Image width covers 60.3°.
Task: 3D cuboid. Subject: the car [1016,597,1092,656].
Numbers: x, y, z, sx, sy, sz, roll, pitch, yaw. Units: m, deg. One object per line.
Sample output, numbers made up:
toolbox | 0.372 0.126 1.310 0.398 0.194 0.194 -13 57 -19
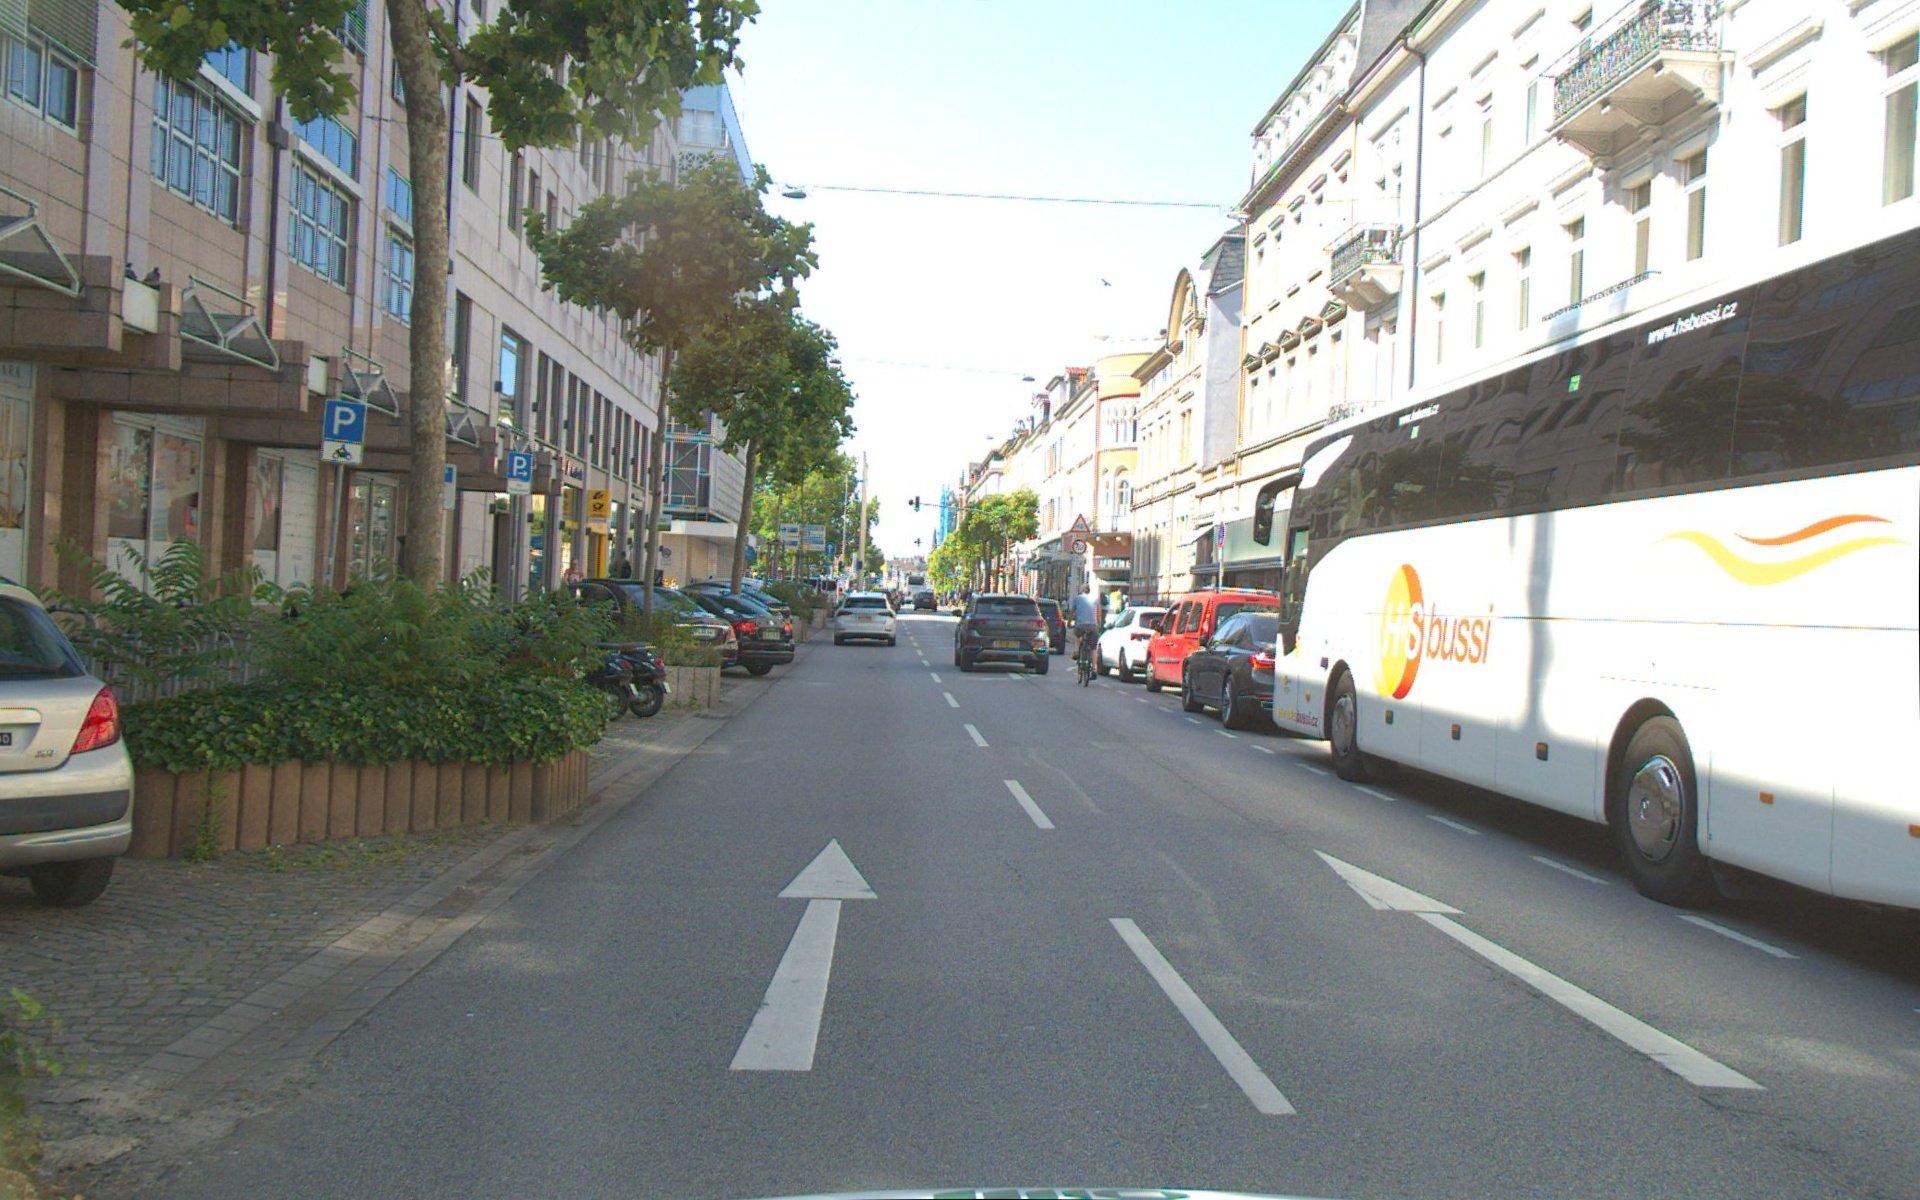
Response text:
car | 2.633 0.723 47.030 1.786 1.433 3.185 5 1 -2

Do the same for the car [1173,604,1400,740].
car | 4.285 0.878 22.588 1.822 1.495 5.223 4 0 -2

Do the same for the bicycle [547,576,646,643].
bicycle | -8.008 0.206 36.507 2.028 1.311 0.367 5 -1 -10

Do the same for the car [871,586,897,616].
car | -5.626 0.085 122.356 1.826 2.065 3.997 3 -1 -3

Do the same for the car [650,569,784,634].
car | -7.527 0.041 51.477 3.913 1.526 1.715 7 0 -7

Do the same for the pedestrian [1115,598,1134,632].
pedestrian | 8.446 0.762 84.905 0.776 1.750 0.728 2 0 -8

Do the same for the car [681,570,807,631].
car | -7.545 0.014 57.874 3.909 1.594 1.699 7 0 22

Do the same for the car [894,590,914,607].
car | -5.348 -0.169 158.144 1.826 1.466 3.997 1 -2 -3

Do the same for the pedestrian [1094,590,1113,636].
pedestrian | 5.911 0.525 68.148 0.638 1.841 0.729 2 0 1

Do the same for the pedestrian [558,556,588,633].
pedestrian | -8.565 -0.122 36.647 0.555 1.686 0.635 2 0 -10

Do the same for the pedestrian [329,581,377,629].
pedestrian | -11.468 0.094 31.267 0.555 0.822 0.774 7 0 -3

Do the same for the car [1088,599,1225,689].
car | 3.902 0.831 33.574 1.778 1.491 4.576 4 1 -5

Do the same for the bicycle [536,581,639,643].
bicycle | -7.884 0.256 35.071 2.028 1.150 0.463 5 -1 -10

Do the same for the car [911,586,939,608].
car | -2.552 -0.214 120.233 1.826 1.466 3.997 2 0 -3

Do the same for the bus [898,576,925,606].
bus | -6.312 -1.214 213.759 2.716 3.668 8.963 2 0 -6

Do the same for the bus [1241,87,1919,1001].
bus | 5.043 -0.201 12.240 2.825 3.806 12.417 4 0 -4

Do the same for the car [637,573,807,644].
car | -6.488 0.225 45.045 4.259 1.539 1.830 5 0 28

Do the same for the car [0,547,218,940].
car | -5.384 0.475 7.649 3.981 1.520 1.926 4 1 39

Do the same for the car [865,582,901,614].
car | -3.810 -0.128 81.546 1.708 1.466 3.998 2 0 -3

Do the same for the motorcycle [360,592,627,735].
motorcycle | -4.848 0.633 17.265 2.296 1.290 1.294 3 0 18

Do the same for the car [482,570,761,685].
car | -5.633 0.426 27.232 4.670 1.560 1.980 4 0 40

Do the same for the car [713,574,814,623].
car | -8.062 -0.066 68.177 3.911 1.526 1.716 7 0 -5

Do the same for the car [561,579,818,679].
car | -4.991 0.498 30.212 4.705 1.447 1.875 4 1 38

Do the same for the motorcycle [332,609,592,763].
motorcycle | -4.483 0.739 14.870 2.130 1.190 0.920 3 0 25

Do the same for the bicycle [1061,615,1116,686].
bicycle | 2.285 0.885 29.730 0.651 1.139 2.242 4 1 -2

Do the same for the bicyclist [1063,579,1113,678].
bicyclist | 2.299 0.502 29.717 0.680 1.702 0.915 4 1 -2

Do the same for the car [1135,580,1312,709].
car | 4.372 0.671 28.136 1.792 1.896 4.348 4 0 -6

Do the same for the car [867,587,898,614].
car | -4.395 0.020 93.484 1.708 1.466 3.998 2 0 -3

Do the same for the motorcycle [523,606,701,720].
motorcycle | -4.092 0.717 19.454 1.870 1.190 0.760 3 0 18

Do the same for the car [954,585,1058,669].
car | 0.882 0.526 33.838 1.796 1.554 3.998 2 0 -3

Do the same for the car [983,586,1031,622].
car | 1.965 0.146 70.849 1.785 1.409 3.999 2 1 -2

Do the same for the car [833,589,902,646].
car | -2.678 0.467 47.229 1.826 1.466 3.997 2 0 -4

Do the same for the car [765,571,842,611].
car | -9.964 -0.603 104.984 4.635 2.038 1.933 6 -1 38

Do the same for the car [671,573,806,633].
car | -7.262 0.090 54.357 3.905 1.515 1.785 6 0 15

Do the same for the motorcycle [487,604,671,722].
motorcycle | -4.314 0.690 18.737 1.870 1.190 0.729 3 0 18
